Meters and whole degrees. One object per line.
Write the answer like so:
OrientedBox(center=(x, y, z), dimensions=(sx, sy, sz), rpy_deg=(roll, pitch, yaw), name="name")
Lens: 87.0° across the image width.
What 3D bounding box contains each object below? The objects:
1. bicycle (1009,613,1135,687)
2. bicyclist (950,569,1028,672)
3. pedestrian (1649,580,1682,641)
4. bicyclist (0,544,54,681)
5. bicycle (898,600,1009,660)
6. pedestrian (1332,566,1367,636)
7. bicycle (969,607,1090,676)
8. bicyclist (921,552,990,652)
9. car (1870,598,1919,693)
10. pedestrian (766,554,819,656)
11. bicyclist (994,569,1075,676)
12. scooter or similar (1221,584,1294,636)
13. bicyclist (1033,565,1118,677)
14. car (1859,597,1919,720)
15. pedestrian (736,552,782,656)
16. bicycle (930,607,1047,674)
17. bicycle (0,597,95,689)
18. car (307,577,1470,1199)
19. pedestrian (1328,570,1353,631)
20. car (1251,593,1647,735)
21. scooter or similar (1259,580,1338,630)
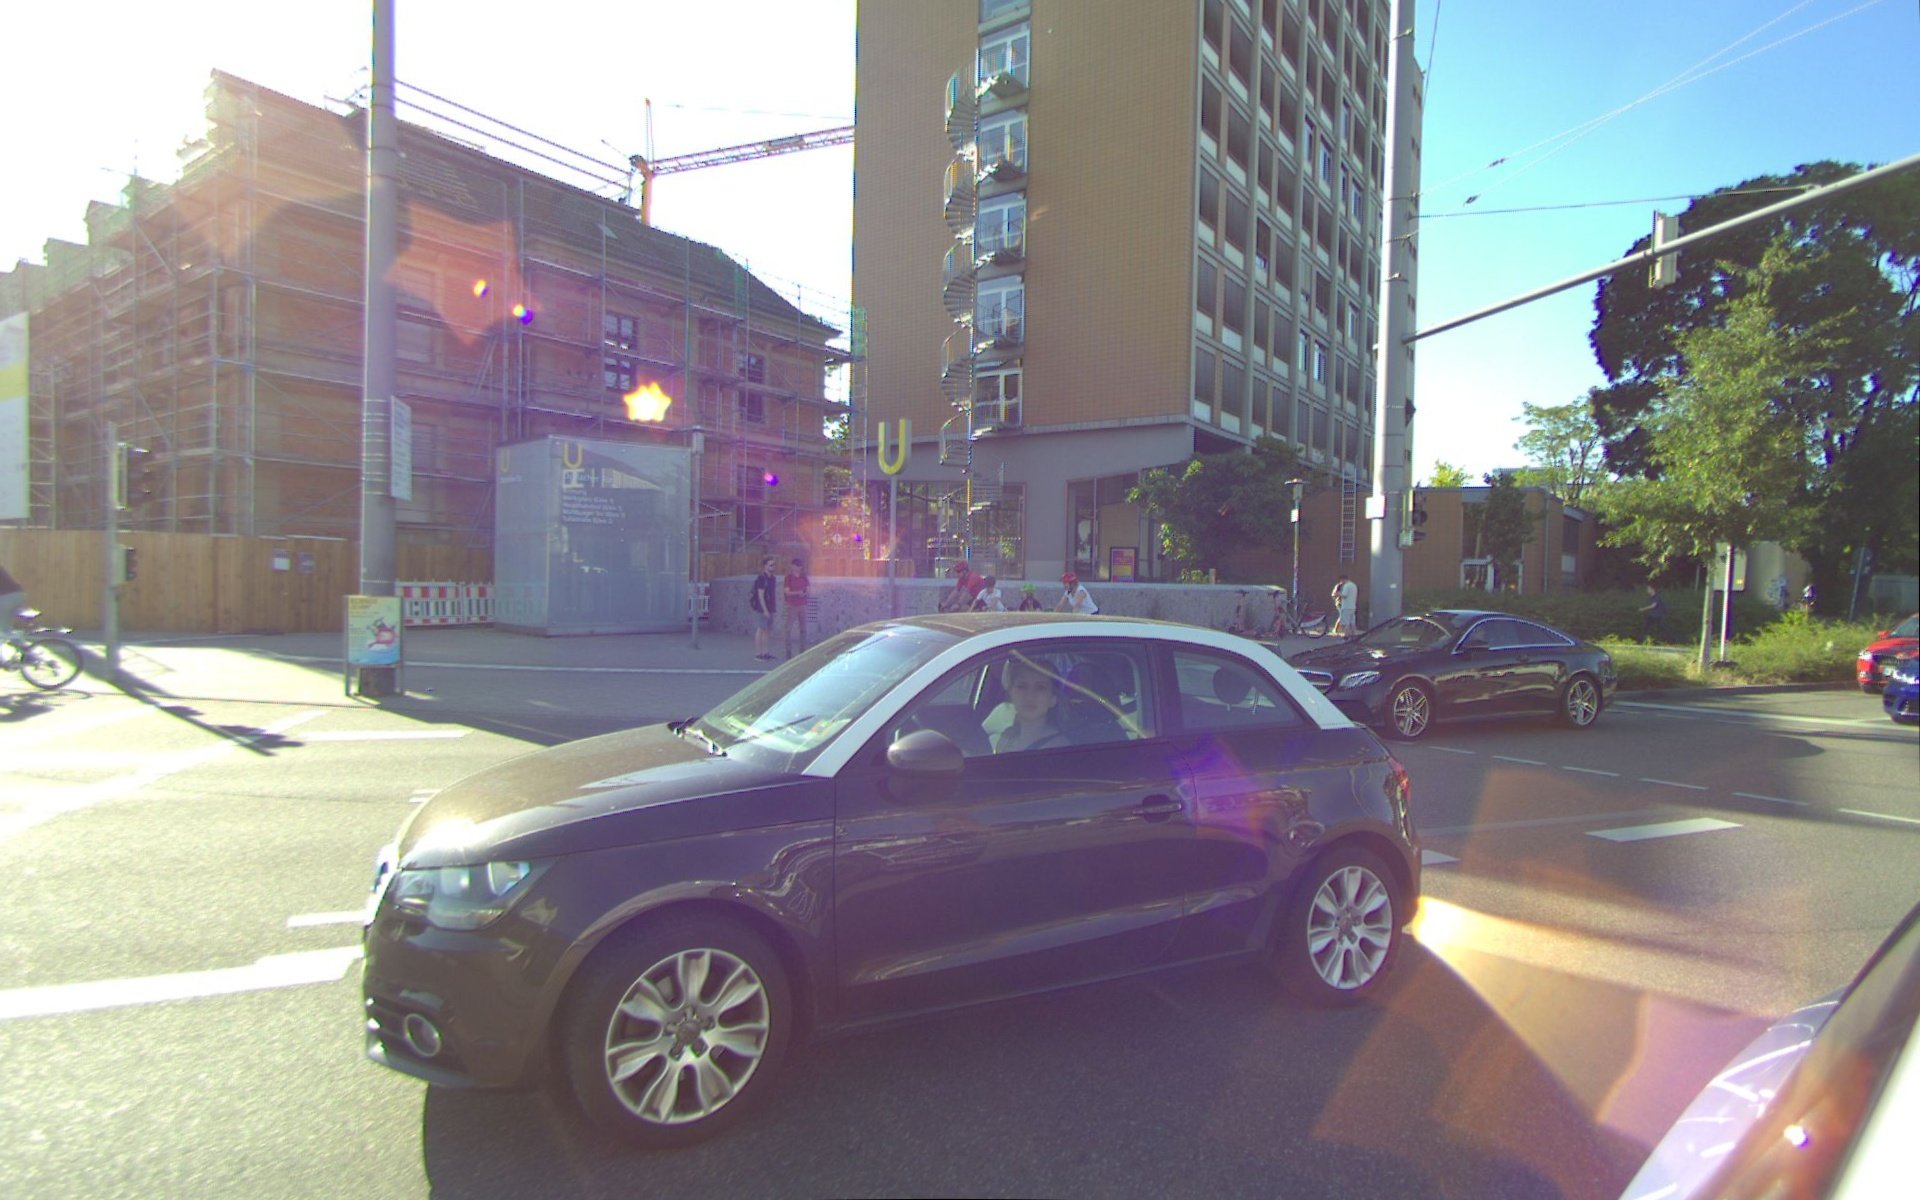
OrientedBox(center=(1.714, 0.736, 15.344), dimensions=(1.844, 0.981, 0.713), rpy_deg=(0, 5, -35), name="bicycle")
OrientedBox(center=(0.479, 0.322, 16.802), dimensions=(0.997, 1.606, 0.695), rpy_deg=(0, 4, -34), name="bicyclist")
OrientedBox(center=(19.339, 0.288, 27.756), dimensions=(0.494, 1.656, 0.573), rpy_deg=(1, -2, -33), name="pedestrian")
OrientedBox(center=(-12.079, 0.160, 12.676), dimensions=(0.956, 1.683, 0.648), rpy_deg=(1, -2, -33), name="bicyclist")
OrientedBox(center=(-0.122, 0.538, 18.230), dimensions=(1.840, 0.981, 0.714), rpy_deg=(1, 4, -18), name="bicycle")
OrientedBox(center=(9.614, 0.029, 24.994), dimensions=(0.612, 1.733, 0.486), rpy_deg=(0, -2, -6), name="pedestrian")
OrientedBox(center=(1.114, 0.631, 16.076), dimensions=(1.844, 0.981, 0.713), rpy_deg=(0, 5, -35), name="bicycle")
OrientedBox(center=(-0.090, 0.034, 18.206), dimensions=(0.995, 1.728, 0.696), rpy_deg=(2, 4, -18), name="bicyclist")
OrientedBox(center=(17.459, 0.742, 17.360), dimensions=(3.941, 1.482, 1.758), rpy_deg=(-1, 2, -32), name="car")
OrientedBox(center=(-2.995, 0.075, 18.039), dimensions=(0.718, 1.761, 0.623), rpy_deg=(1, 2, -30), name="pedestrian")
OrientedBox(center=(1.180, 0.342, 16.092), dimensions=(0.997, 1.606, 0.695), rpy_deg=(0, 4, -34), name="bicyclist")
OrientedBox(center=(7.467, 0.254, 25.394), dimensions=(1.687, 1.263, 0.794), rpy_deg=(-1, -2, 22), name="scooter or similar")
OrientedBox(center=(1.742, 0.300, 15.323), dimensions=(0.997, 1.606, 0.694), rpy_deg=(0, 4, -35), name="bicyclist")
OrientedBox(center=(14.020, 0.730, 12.996), dimensions=(4.556, 1.511, 1.821), rpy_deg=(0, 0, -21), name="car")
OrientedBox(center=(-3.484, 0.052, 17.593), dimensions=(0.610, 1.761, 0.665), rpy_deg=(2, 2, 1), name="pedestrian")
OrientedBox(center=(0.490, 0.646, 16.824), dimensions=(1.844, 0.981, 0.713), rpy_deg=(0, 5, -35), name="bicycle")
OrientedBox(center=(-12.053, 0.534, 12.689), dimensions=(1.741, 1.138, 0.648), rpy_deg=(1, -2, -33), name="bicycle")
OrientedBox(center=(-0.112, 0.647, 3.798), dimensions=(3.753, 1.405, 1.699), rpy_deg=(0, 1, -27), name="car")
OrientedBox(center=(10.536, 0.020, 28.012), dimensions=(0.494, 1.656, 0.427), rpy_deg=(1, -2, -34), name="pedestrian")
OrientedBox(center=(6.016, 0.684, 12.438), dimensions=(4.556, 1.511, 1.821), rpy_deg=(0, 0, -23), name="car")
OrientedBox(center=(8.747, 0.143, 26.229), dimensions=(1.799, 1.263, 0.798), rpy_deg=(0, -2, 8), name="scooter or similar")
